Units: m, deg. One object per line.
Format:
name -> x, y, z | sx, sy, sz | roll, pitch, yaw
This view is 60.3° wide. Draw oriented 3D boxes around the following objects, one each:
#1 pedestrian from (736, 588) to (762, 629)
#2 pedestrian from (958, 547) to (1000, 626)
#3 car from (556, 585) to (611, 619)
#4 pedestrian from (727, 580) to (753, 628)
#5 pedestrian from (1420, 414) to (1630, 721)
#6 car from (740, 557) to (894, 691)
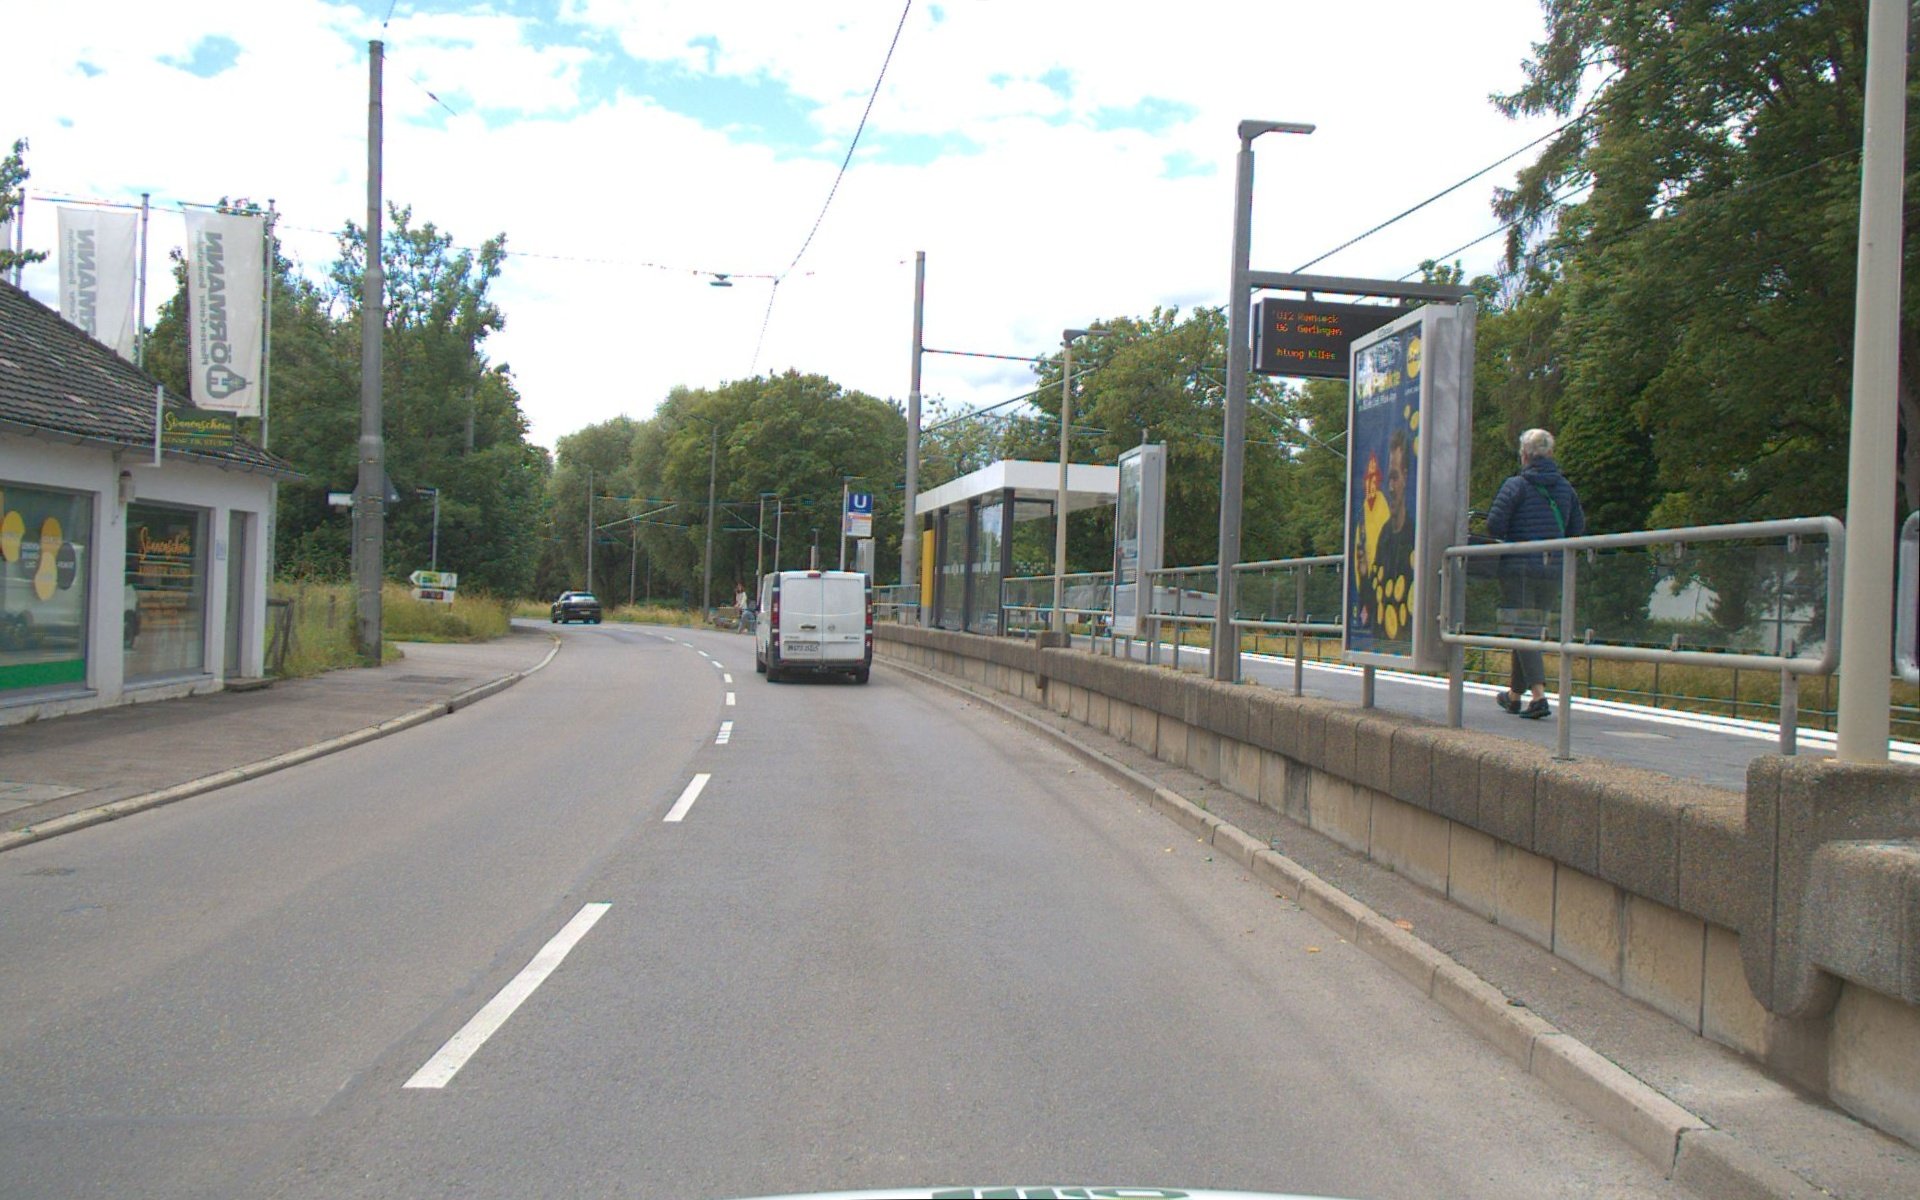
pedestrian -> -7.960, 0.309, 62.425 | 0.752, 1.518, 0.623 | 2, 0, -36
pedestrian -> 0.350, -0.262, 30.683 | 0.627, 1.429, 0.763 | 1, 1, -10
car -> -19.230, 0.082, 84.384 | 2.318, 1.591, 4.351 | 4, -1, -17
pedestrian -> -8.493, 0.144, 63.898 | 0.752, 1.826, 0.623 | 2, 0, -36
pedestrian -> 3.309, -0.184, 9.775 | 0.868, 1.700, 0.909 | 2, 0, -1
car -> -2.771, 0.389, 30.733 | 2.080, 2.171, 5.424 | 3, 0, -12
